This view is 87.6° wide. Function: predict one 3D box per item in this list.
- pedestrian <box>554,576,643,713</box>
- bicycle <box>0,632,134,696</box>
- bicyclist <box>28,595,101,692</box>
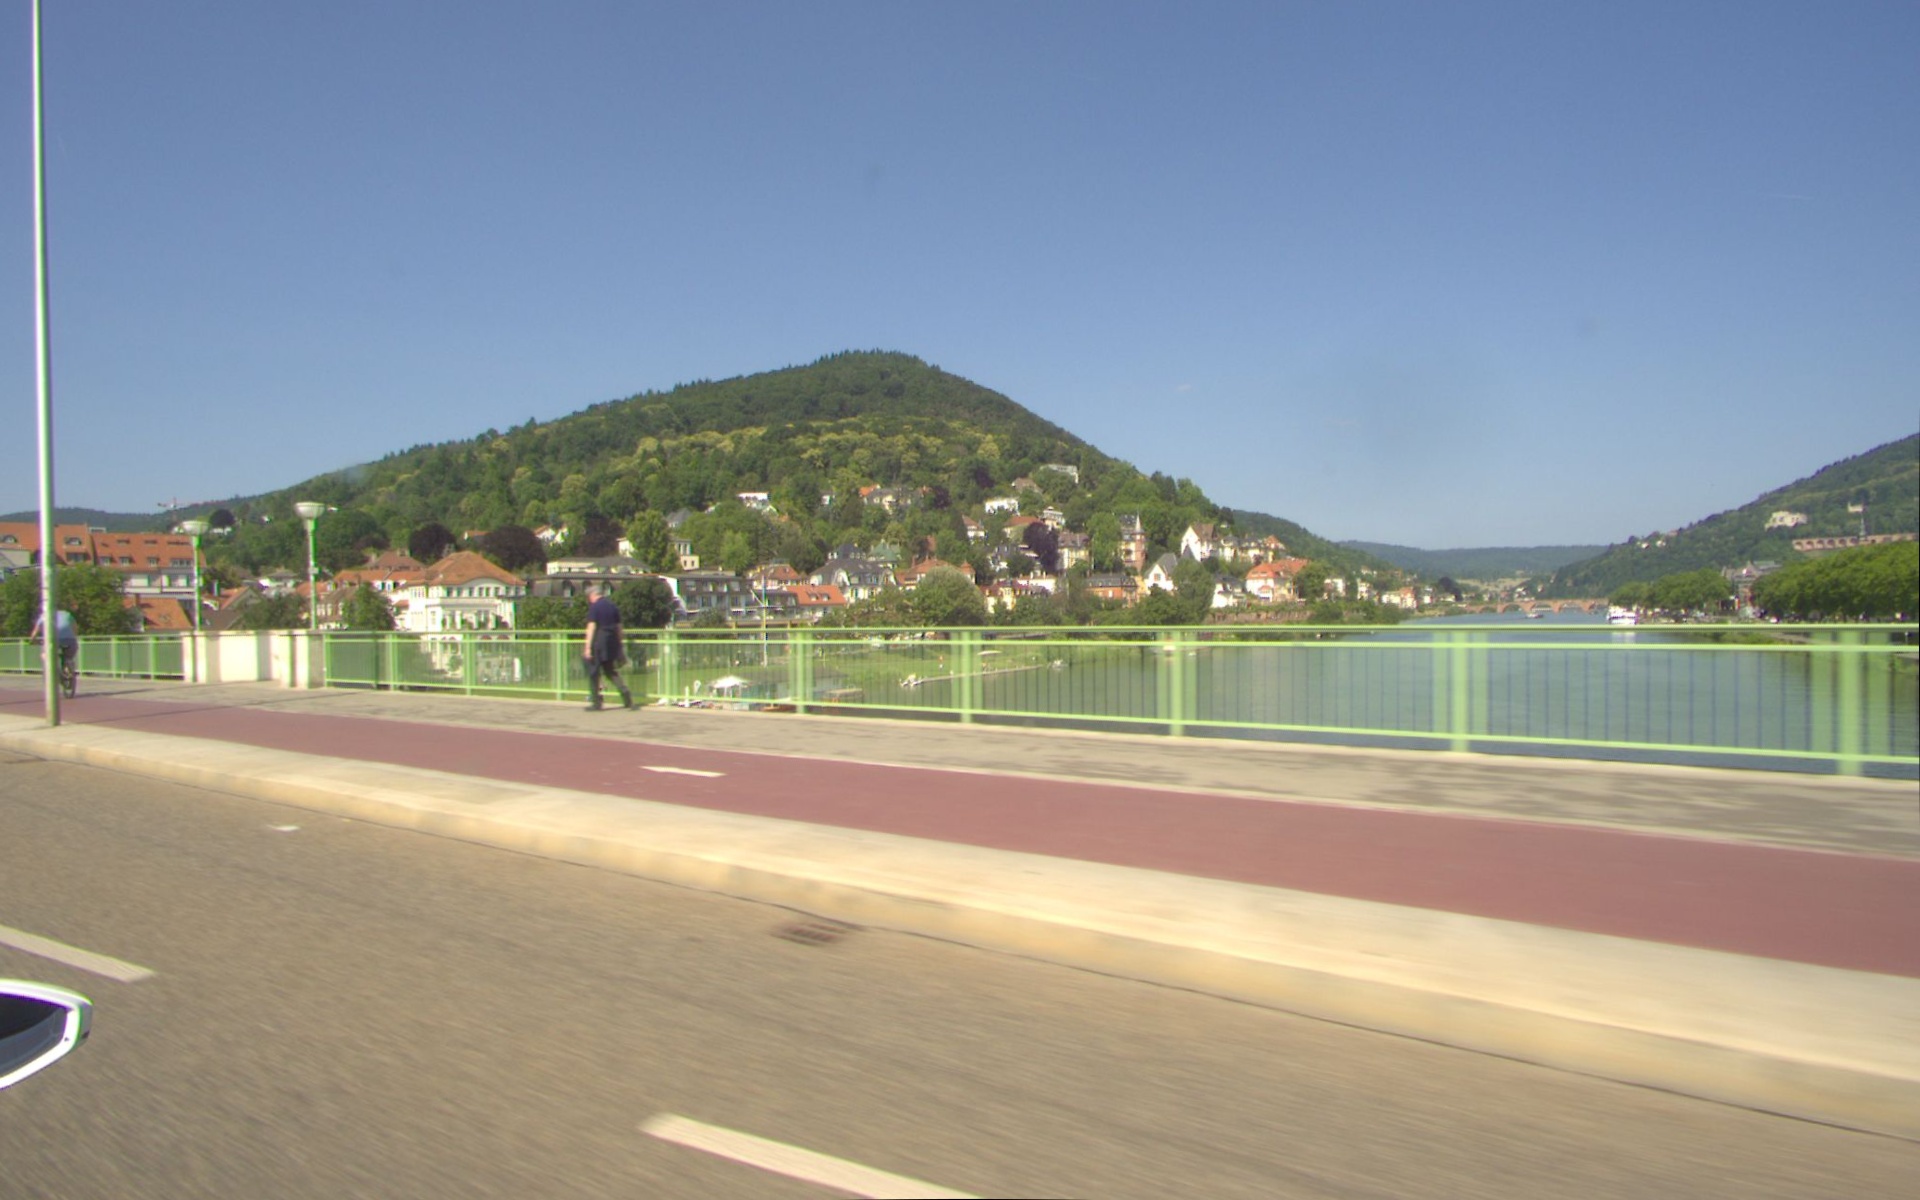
[{"bbox_3d":[-4.850,0.570,13.437,0.963,1.767,0.654,1,1,28],"label":"pedestrian"},{"bbox_3d":[-16.986,1.174,18.963,3.688,1.110,0.791,-1,0,29],"label":"bicycle"},{"bbox_3d":[-16.868,0.808,18.862,1.133,1.767,0.672,-1,1,29],"label":"bicyclist"}]
